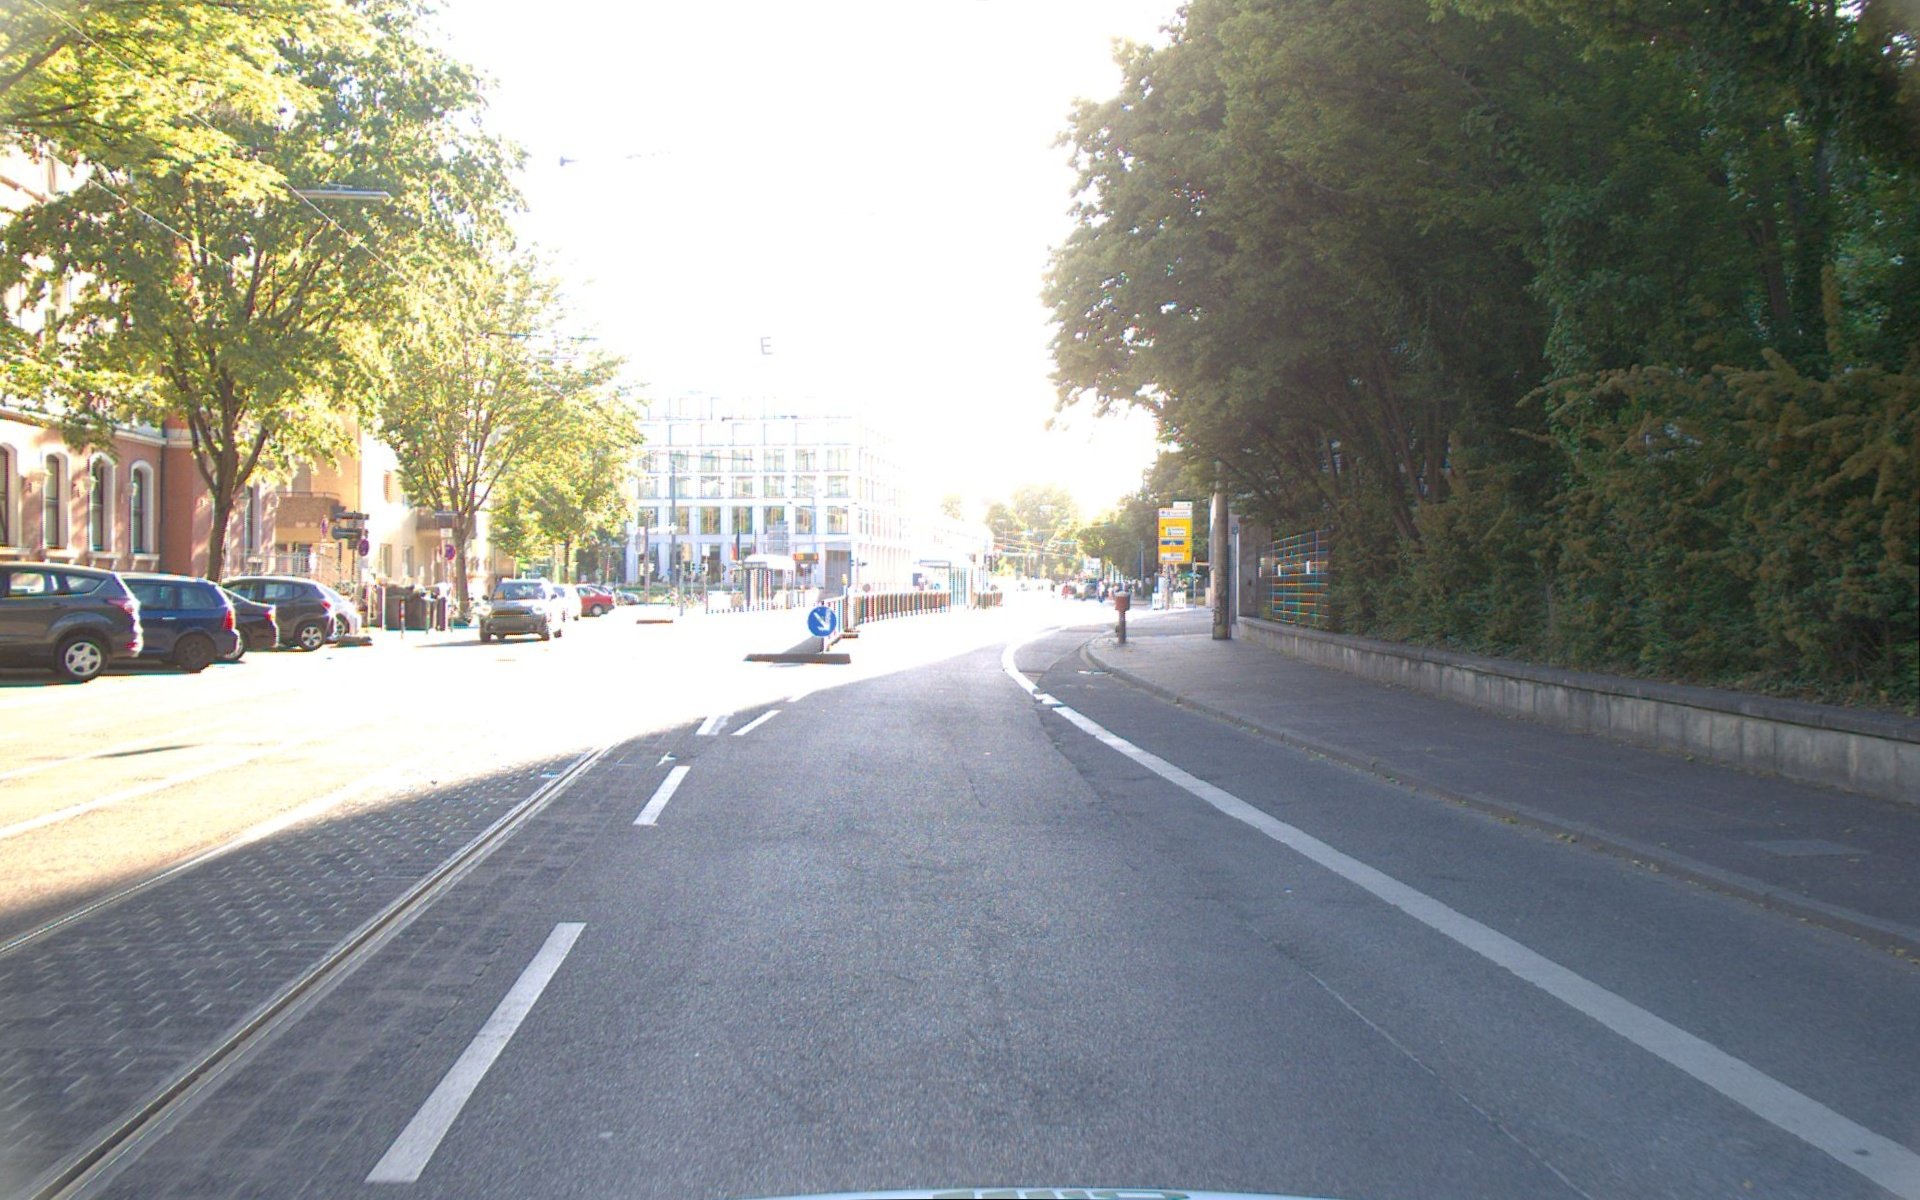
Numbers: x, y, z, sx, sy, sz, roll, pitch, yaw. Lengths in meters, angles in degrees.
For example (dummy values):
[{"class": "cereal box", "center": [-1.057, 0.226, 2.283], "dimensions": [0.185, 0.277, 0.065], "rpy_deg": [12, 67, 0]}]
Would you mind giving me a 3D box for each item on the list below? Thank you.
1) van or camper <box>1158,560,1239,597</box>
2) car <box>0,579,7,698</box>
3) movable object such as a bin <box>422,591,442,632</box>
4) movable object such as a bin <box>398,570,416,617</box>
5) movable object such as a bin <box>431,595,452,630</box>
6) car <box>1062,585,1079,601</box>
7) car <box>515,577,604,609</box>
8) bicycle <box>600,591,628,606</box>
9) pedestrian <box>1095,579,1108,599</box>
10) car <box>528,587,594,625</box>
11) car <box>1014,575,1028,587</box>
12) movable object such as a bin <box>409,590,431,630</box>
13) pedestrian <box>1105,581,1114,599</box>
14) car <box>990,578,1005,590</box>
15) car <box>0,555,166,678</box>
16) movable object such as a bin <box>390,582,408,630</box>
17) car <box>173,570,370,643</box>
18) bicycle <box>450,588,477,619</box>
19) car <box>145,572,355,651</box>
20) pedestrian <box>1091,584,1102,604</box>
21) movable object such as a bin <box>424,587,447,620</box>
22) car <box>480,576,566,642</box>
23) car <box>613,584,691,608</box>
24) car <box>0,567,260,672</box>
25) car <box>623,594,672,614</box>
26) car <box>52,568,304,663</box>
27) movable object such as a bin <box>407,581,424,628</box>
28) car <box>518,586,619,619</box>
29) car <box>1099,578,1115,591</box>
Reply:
[{"class": "van or camper", "center": [20.224, -1.796, 140.155], "dimensions": [6.565, 2.911, 2.913], "rpy_deg": [1, 0, 13]}, {"class": "car", "center": [-14.371, 0.418, 21.487], "dimensions": [3.244, 1.559, 1.686], "rpy_deg": [3, 0, -37]}, {"class": "movable object such as a bin", "center": [-16.212, 0.356, 50.791], "dimensions": [0.371, 1.263, 0.640], "rpy_deg": [0, 0, 7]}, {"class": "movable object such as a bin", "center": [-16.937, -0.201, 50.651], "dimensions": [0.371, 1.451, 0.386], "rpy_deg": [0, 0, 7]}, {"class": "movable object such as a bin", "center": [-16.134, 0.379, 51.445], "dimensions": [0.371, 1.087, 0.640], "rpy_deg": [0, 0, 7]}, {"class": "car", "center": [12.629, -0.815, 188.222], "dimensions": [1.648, 1.768, 3.511], "rpy_deg": [1, 0, 8]}, {"class": "car", "center": [-21.553, -0.354, 89.045], "dimensions": [4.443, 1.597, 1.578], "rpy_deg": [1, -1, -25]}, {"class": "bicycle", "center": [-26.168, -0.112, 124.980], "dimensions": [1.882, 1.142, 0.791], "rpy_deg": [0, 0, 14]}, {"class": "pedestrian", "center": [12.562, -0.966, 146.795], "dimensions": [0.948, 1.815, 0.779], "rpy_deg": [-1, 0, -8]}, {"class": "car", "center": [-16.404, 0.222, 68.193], "dimensions": [1.671, 1.435, 4.292], "rpy_deg": [2, 1, -1]}, {"class": "car", "center": [9.655, -2.973, 259.777], "dimensions": [1.780, 1.742, 3.809], "rpy_deg": [-1, 1, 8]}, {"class": "movable object such as a bin", "center": [-16.366, 0.299, 50.132], "dimensions": [0.371, 1.224, 0.640], "rpy_deg": [0, 0, 7]}, {"class": "pedestrian", "center": [13.463, -0.872, 148.804], "dimensions": [0.748, 1.586, 0.587], "rpy_deg": [-1, 0, -8]}, {"class": "car", "center": [5.667, -2.395, 248.406], "dimensions": [1.780, 1.742, 3.809], "rpy_deg": [-1, 1, 8]}, {"class": "car", "center": [-14.368, 0.214, 24.711], "dimensions": [4.239, 1.753, 1.685], "rpy_deg": [3, -2, -37]}, {"class": "movable object such as a bin", "center": [-17.002, 0.184, 50.097], "dimensions": [0.371, 1.451, 0.388], "rpy_deg": [0, 0, 7]}, {"class": "car", "center": [-16.025, 0.159, 38.604], "dimensions": [3.883, 1.548, 1.709], "rpy_deg": [2, 0, -42]}, {"class": "bicycle", "center": [-23.717, 0.146, 79.092], "dimensions": [0.703, 1.422, 3.007], "rpy_deg": [0, 0, -6]}, {"class": "car", "center": [-15.274, 0.262, 35.653], "dimensions": [3.879, 1.534, 1.668], "rpy_deg": [2, 0, -37]}, {"class": "pedestrian", "center": [12.260, -0.560, 148.764], "dimensions": [0.832, 1.815, 0.779], "rpy_deg": [-1, 0, -8]}, {"class": "movable object such as a bin", "center": [-18.387, 0.129, 57.953], "dimensions": [0.416, 1.146, 1.147], "rpy_deg": [0, 0, 1]}, {"class": "car", "center": [-11.552, 0.190, 43.949], "dimensions": [1.837, 1.629, 4.416], "rpy_deg": [-1, 1, -11]}, {"class": "car", "center": [-18.908, -0.257, 101.470], "dimensions": [4.443, 1.374, 1.578], "rpy_deg": [1, -1, -25]}, {"class": "car", "center": [-14.179, 0.339, 28.036], "dimensions": [3.949, 1.645, 1.611], "rpy_deg": [2, 0, -41]}, {"class": "car", "center": [-24.655, 0.327, 130.580], "dimensions": [3.455, 1.532, 1.524], "rpy_deg": [0, 1, 6]}, {"class": "car", "center": [-14.550, 0.305, 30.883], "dimensions": [3.949, 1.645, 1.611], "rpy_deg": [2, 0, -41]}, {"class": "movable object such as a bin", "center": [-16.811, 0.137, 51.066], "dimensions": [0.371, 1.451, 0.388], "rpy_deg": [0, 0, 7]}, {"class": "car", "center": [-18.554, 0.130, 78.289], "dimensions": [4.437, 1.450, 1.861], "rpy_deg": [1, 0, -22]}, {"class": "car", "center": [17.177, -1.797, 192.872], "dimensions": [1.648, 1.527, 3.511], "rpy_deg": [1, 0, 8]}]
